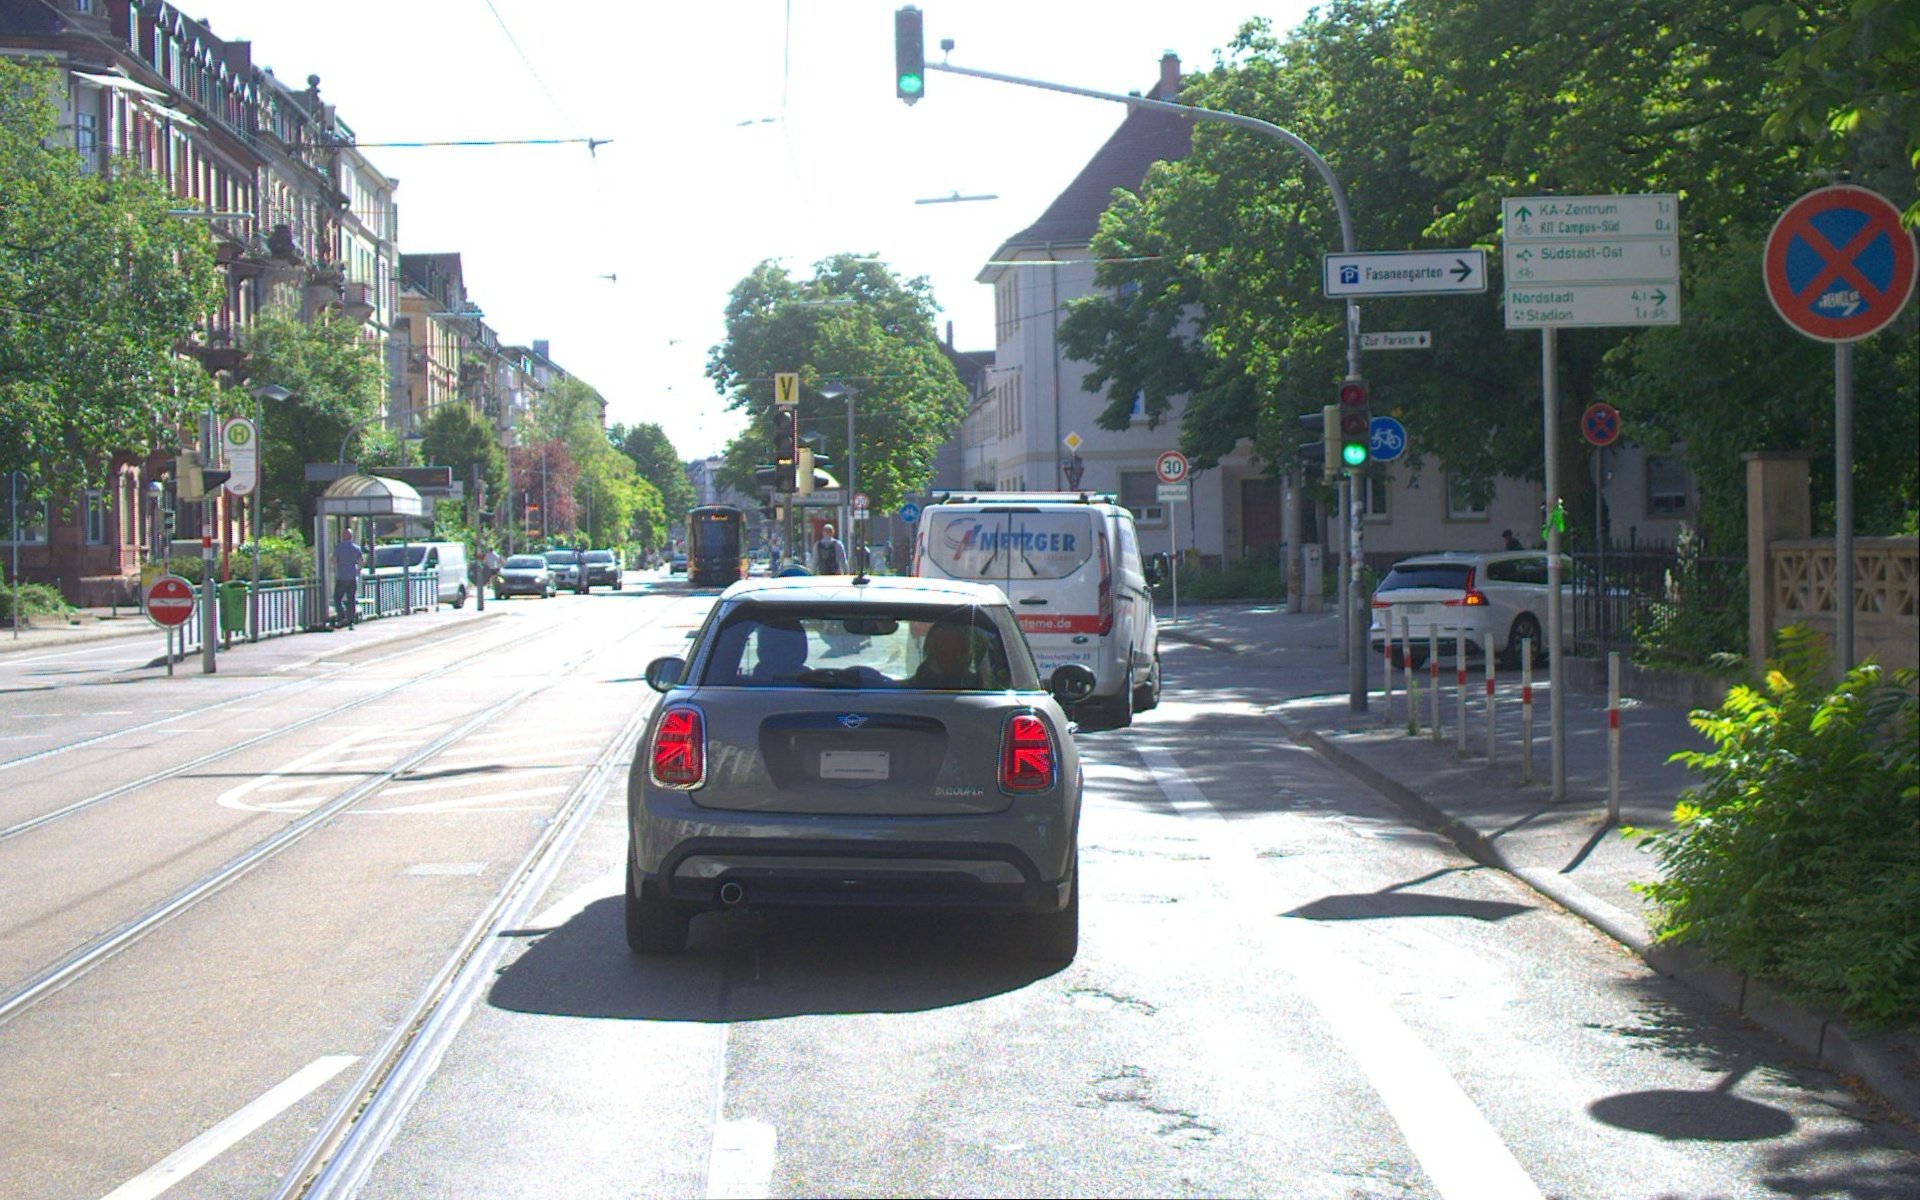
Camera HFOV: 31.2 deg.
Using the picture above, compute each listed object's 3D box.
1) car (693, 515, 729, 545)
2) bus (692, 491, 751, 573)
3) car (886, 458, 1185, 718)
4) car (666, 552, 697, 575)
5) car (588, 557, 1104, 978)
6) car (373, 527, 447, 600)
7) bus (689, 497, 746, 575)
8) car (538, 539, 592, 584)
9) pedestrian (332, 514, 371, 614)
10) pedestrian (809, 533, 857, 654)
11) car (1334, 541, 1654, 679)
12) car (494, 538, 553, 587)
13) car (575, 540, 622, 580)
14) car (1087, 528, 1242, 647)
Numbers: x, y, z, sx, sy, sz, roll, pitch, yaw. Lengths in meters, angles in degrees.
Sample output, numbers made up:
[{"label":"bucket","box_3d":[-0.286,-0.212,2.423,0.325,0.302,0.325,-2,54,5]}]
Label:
[{"label":"car","box_3d":[-13.322,-3.744,183.819,1.863,1.558,4.001,0,0,-5]},{"label":"bus","box_3d":[-10.493,-2.958,150.986,2.385,3.484,7.385,0,0,-5]},{"label":"car","box_3d":[0.795,-0.125,31.714,2.119,2.201,4.942,0,0,9]},{"label":"car","box_3d":[-20.230,-2.646,250.001,1.993,1.590,4.000,0,0,-1]},{"label":"car","box_3d":[-0.447,0.579,14.149,1.815,1.483,4.000,0,0,-1]},{"label":"car","box_3d":[-15.549,-1.034,97.408,1.993,2.007,5.030,0,0,-8]},{"label":"bus","box_3d":[-11.202,-2.894,158.356,2.385,3.484,7.385,0,0,-5]},{"label":"car","box_3d":[-14.328,-1.383,124.828,1.775,1.612,4.001,0,0,-5]},{"label":"pedestrian","box_3d":[-10.996,-0.649,62.131,0.577,1.789,0.608,-1,1,-18]},{"label":"pedestrian","box_3d":[-2.133,-0.110,57.736,0.795,2.007,0.740,0,0,-2]},{"label":"car","box_3d":[6.607,0.102,42.285,1.998,1.612,3.990,1,0,43]},{"label":"car","box_3d":[-14.695,-1.262,115.765,1.775,1.612,4.001,0,0,-5]},{"label":"car","box_3d":[-14.647,-1.604,139.290,1.775,1.612,4.001,0,0,-5]},{"label":"car","box_3d":[3.011,-0.194,51.397,1.993,1.700,4.000,0,0,-1]}]
